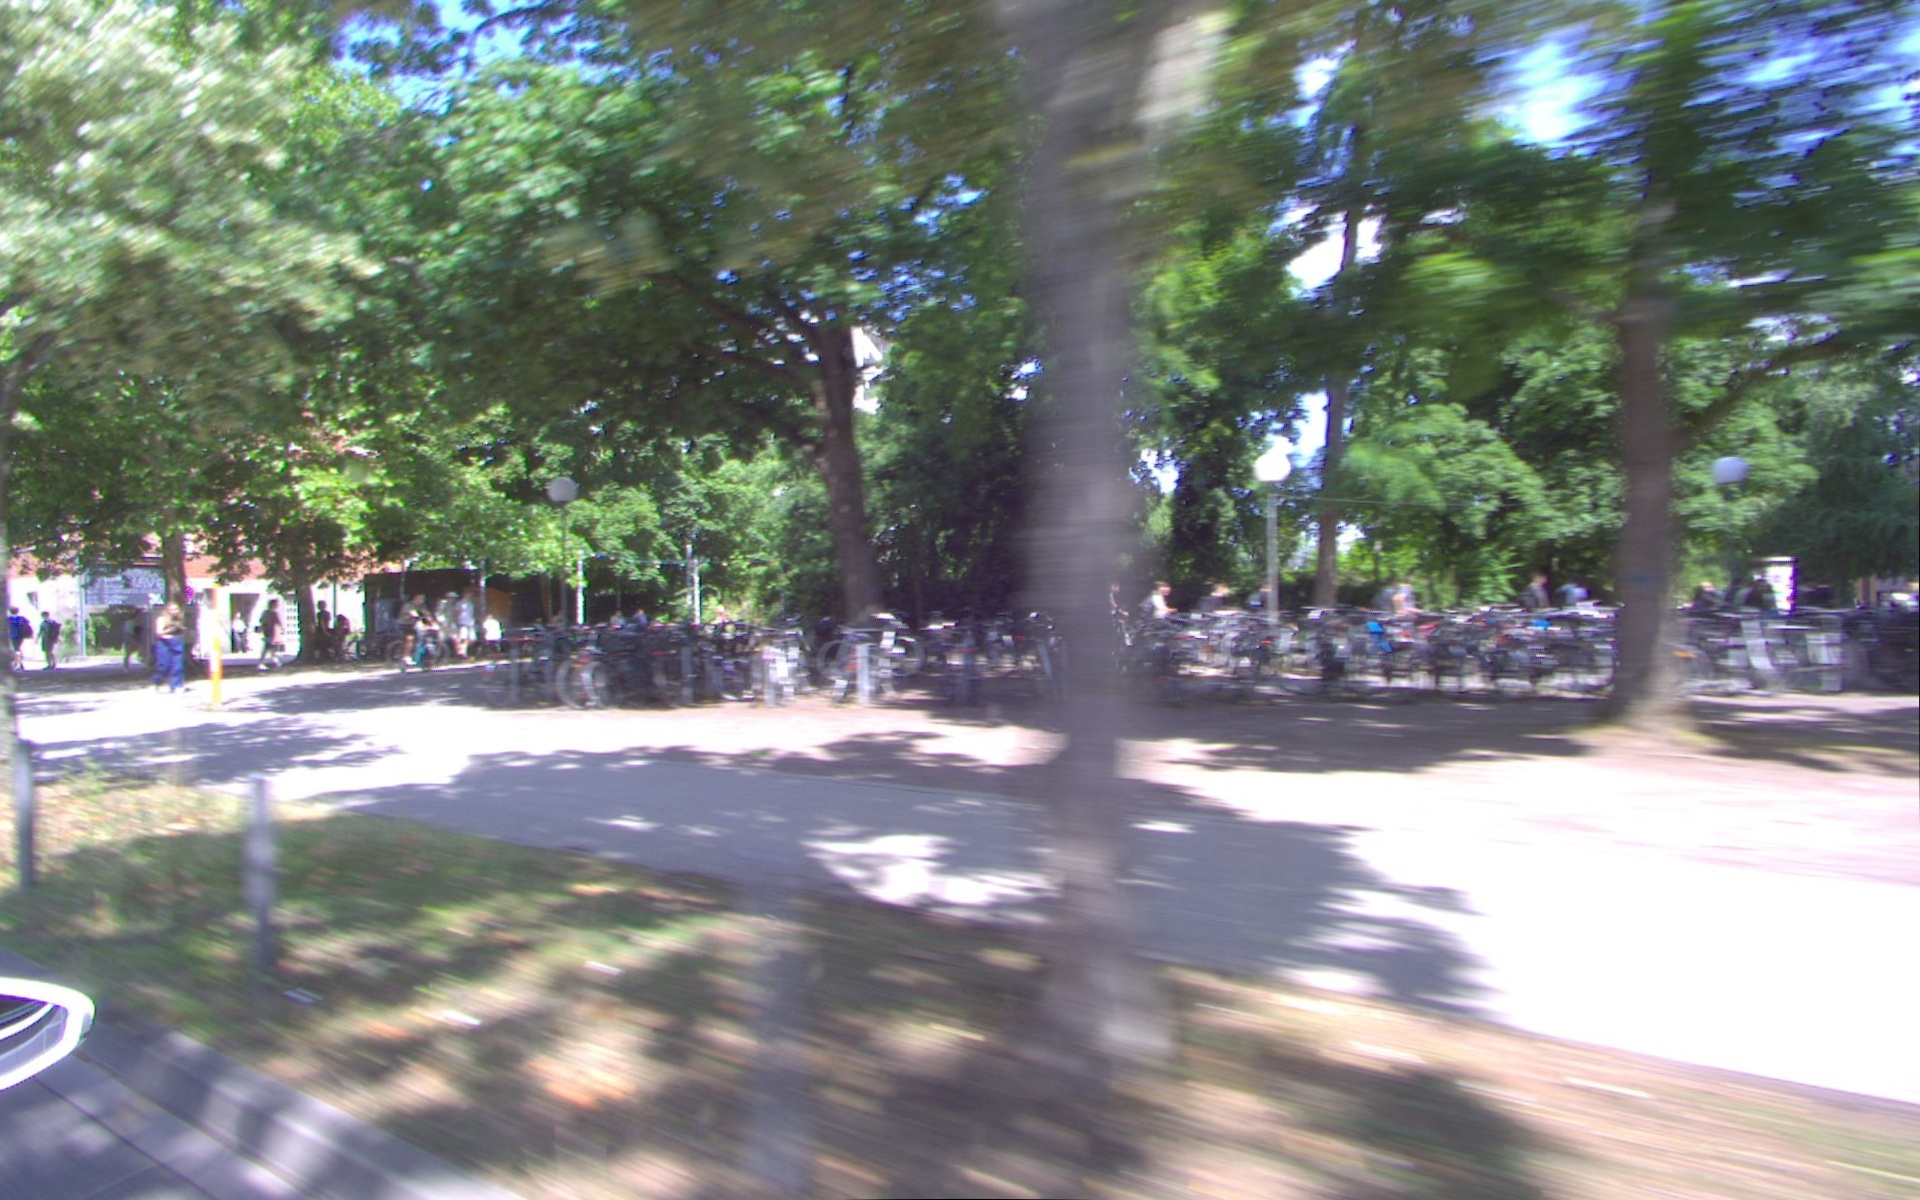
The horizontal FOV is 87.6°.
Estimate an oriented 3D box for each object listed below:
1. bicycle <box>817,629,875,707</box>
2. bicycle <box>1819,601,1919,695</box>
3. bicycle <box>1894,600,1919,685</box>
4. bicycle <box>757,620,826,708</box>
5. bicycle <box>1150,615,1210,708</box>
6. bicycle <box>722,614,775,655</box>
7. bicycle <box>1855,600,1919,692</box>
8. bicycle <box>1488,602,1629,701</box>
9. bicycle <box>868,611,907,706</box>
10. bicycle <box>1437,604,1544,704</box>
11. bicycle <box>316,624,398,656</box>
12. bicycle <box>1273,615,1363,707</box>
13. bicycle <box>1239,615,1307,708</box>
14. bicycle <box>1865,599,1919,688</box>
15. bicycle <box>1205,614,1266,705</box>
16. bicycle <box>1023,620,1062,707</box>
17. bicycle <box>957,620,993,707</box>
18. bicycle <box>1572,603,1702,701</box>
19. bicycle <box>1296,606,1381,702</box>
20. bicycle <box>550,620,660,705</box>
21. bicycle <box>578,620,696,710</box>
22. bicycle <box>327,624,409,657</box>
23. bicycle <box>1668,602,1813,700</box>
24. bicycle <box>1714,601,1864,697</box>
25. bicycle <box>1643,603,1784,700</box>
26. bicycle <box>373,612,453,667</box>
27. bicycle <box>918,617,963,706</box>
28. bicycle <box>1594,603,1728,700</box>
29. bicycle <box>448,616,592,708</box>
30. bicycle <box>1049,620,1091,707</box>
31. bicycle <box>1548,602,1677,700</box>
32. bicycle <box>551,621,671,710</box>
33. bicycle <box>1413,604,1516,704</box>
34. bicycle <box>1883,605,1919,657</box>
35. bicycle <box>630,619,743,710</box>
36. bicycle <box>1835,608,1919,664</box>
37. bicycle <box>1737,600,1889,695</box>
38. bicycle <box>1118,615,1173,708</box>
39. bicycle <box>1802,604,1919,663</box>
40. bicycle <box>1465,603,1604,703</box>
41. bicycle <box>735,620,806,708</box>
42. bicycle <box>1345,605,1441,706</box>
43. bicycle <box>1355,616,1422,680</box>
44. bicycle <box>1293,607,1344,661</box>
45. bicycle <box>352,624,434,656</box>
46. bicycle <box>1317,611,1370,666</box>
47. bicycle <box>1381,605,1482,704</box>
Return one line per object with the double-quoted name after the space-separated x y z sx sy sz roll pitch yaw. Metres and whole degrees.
-1.484 0.874 13.313 0.485 0.921 1.738 0 0 3 "bicycle"
12.225 0.603 13.056 0.346 1.186 1.845 -1 0 -5 "bicycle"
13.625 0.590 13.387 0.406 1.186 1.844 -1 0 -7 "bicycle"
-2.253 0.826 13.588 0.319 1.073 1.913 0 0 9 "bicycle"
2.784 0.740 12.791 0.418 1.084 1.793 0 0 2 "bicycle"
-5.669 0.909 26.932 0.601 0.992 1.957 -1 1 13 "bicycle"
12.615 0.598 12.910 0.381 1.186 1.845 -1 0 -5 "bicycle"
7.648 0.623 12.898 0.339 1.186 1.842 -1 0 -15 "bicycle"
-0.979 0.748 13.528 0.485 1.170 1.738 -1 0 -4 "bicycle"
6.780 0.647 12.886 0.339 1.186 1.845 -1 0 -2 "bicycle"
-21.610 1.414 35.922 0.775 1.086 2.381 -2 -1 45 "bicycle"
4.578 0.744 12.917 0.418 1.084 1.793 -1 0 -4 "bicycle"
3.966 0.741 12.802 0.418 1.084 1.793 0 0 4 "bicycle"
13.038 0.576 13.200 0.381 1.186 1.844 -1 0 -7 "bicycle"
3.580 0.739 13.110 0.418 1.084 1.793 0 0 4 "bicycle"
1.076 0.799 13.272 0.374 1.042 1.793 -1 0 0 "bicycle"
0.185 0.803 13.264 0.432 1.042 1.796 -1 0 0 "bicycle"
8.803 0.638 13.107 0.339 1.186 1.845 -1 0 -5 "bicycle"
5.013 0.679 13.353 0.395 1.186 1.793 -1 0 -2 "bicycle"
-4.980 0.847 14.165 0.431 1.096 1.769 0 0 20 "bicycle"
-4.339 0.835 13.608 0.397 1.096 1.945 0 0 20 "bicycle"
-20.890 1.416 35.377 0.773 1.086 2.386 -1 -1 39 "bicycle"
10.213 0.627 13.182 0.346 1.186 1.845 -1 0 -5 "bicycle"
10.980 0.607 13.349 0.346 1.186 1.845 -1 0 -5 "bicycle"
9.845 0.636 13.169 0.346 1.186 1.845 -1 0 -5 "bicycle"
-13.195 0.952 24.154 1.705 1.269 0.530 -1 2 12 "bicycle"
-0.279 0.775 13.179 0.485 1.066 1.738 -1 0 -4 "bicycle"
9.134 0.629 13.132 0.339 1.186 1.845 -1 0 -5 "bicycle"
-6.183 0.829 14.207 0.640 1.182 2.016 0 0 20 "bicycle"
1.427 0.795 13.171 0.374 1.042 1.793 -1 0 1 "bicycle"
8.464 0.627 13.080 0.339 1.186 1.844 -1 0 -5 "bicycle"
-4.741 0.854 13.741 0.397 1.096 1.945 0 0 20 "bicycle"
6.433 0.648 12.869 0.339 1.186 1.845 -1 0 -2 "bicycle"
18.819 0.600 19.030 0.470 0.992 1.900 -2 1 -17 "bicycle"
-3.639 0.829 13.501 0.397 1.096 1.945 0 0 20 "bicycle"
17.459 0.655 18.555 0.470 0.992 1.900 -2 1 -17 "bicycle"
11.330 0.595 13.382 0.346 1.186 1.845 -1 0 -5 "bicycle"
2.352 0.751 12.817 0.418 1.084 1.793 0 0 2 "bicycle"
16.445 0.578 18.168 0.470 0.992 1.901 -2 1 -12 "bicycle"
7.290 0.636 12.811 0.339 1.186 1.842 -1 0 -15 "bicycle"
-2.552 0.832 13.648 0.319 1.073 1.913 0 0 9 "bicycle"
5.434 0.659 12.665 0.395 1.186 1.793 -1 0 -2 "bicycle"
7.302 0.788 17.135 0.371 0.992 1.903 -1 0 2 "bicycle"
7.084 0.654 19.859 0.371 0.992 1.903 -1 0 2 "bicycle"
-19.791 1.376 34.988 0.775 1.085 2.383 -2 -2 44 "bicycle"
7.537 0.732 19.755 0.371 0.992 1.903 -1 0 2 "bicycle"
6.065 0.655 12.980 0.395 1.186 1.845 -1 0 -2 "bicycle"
